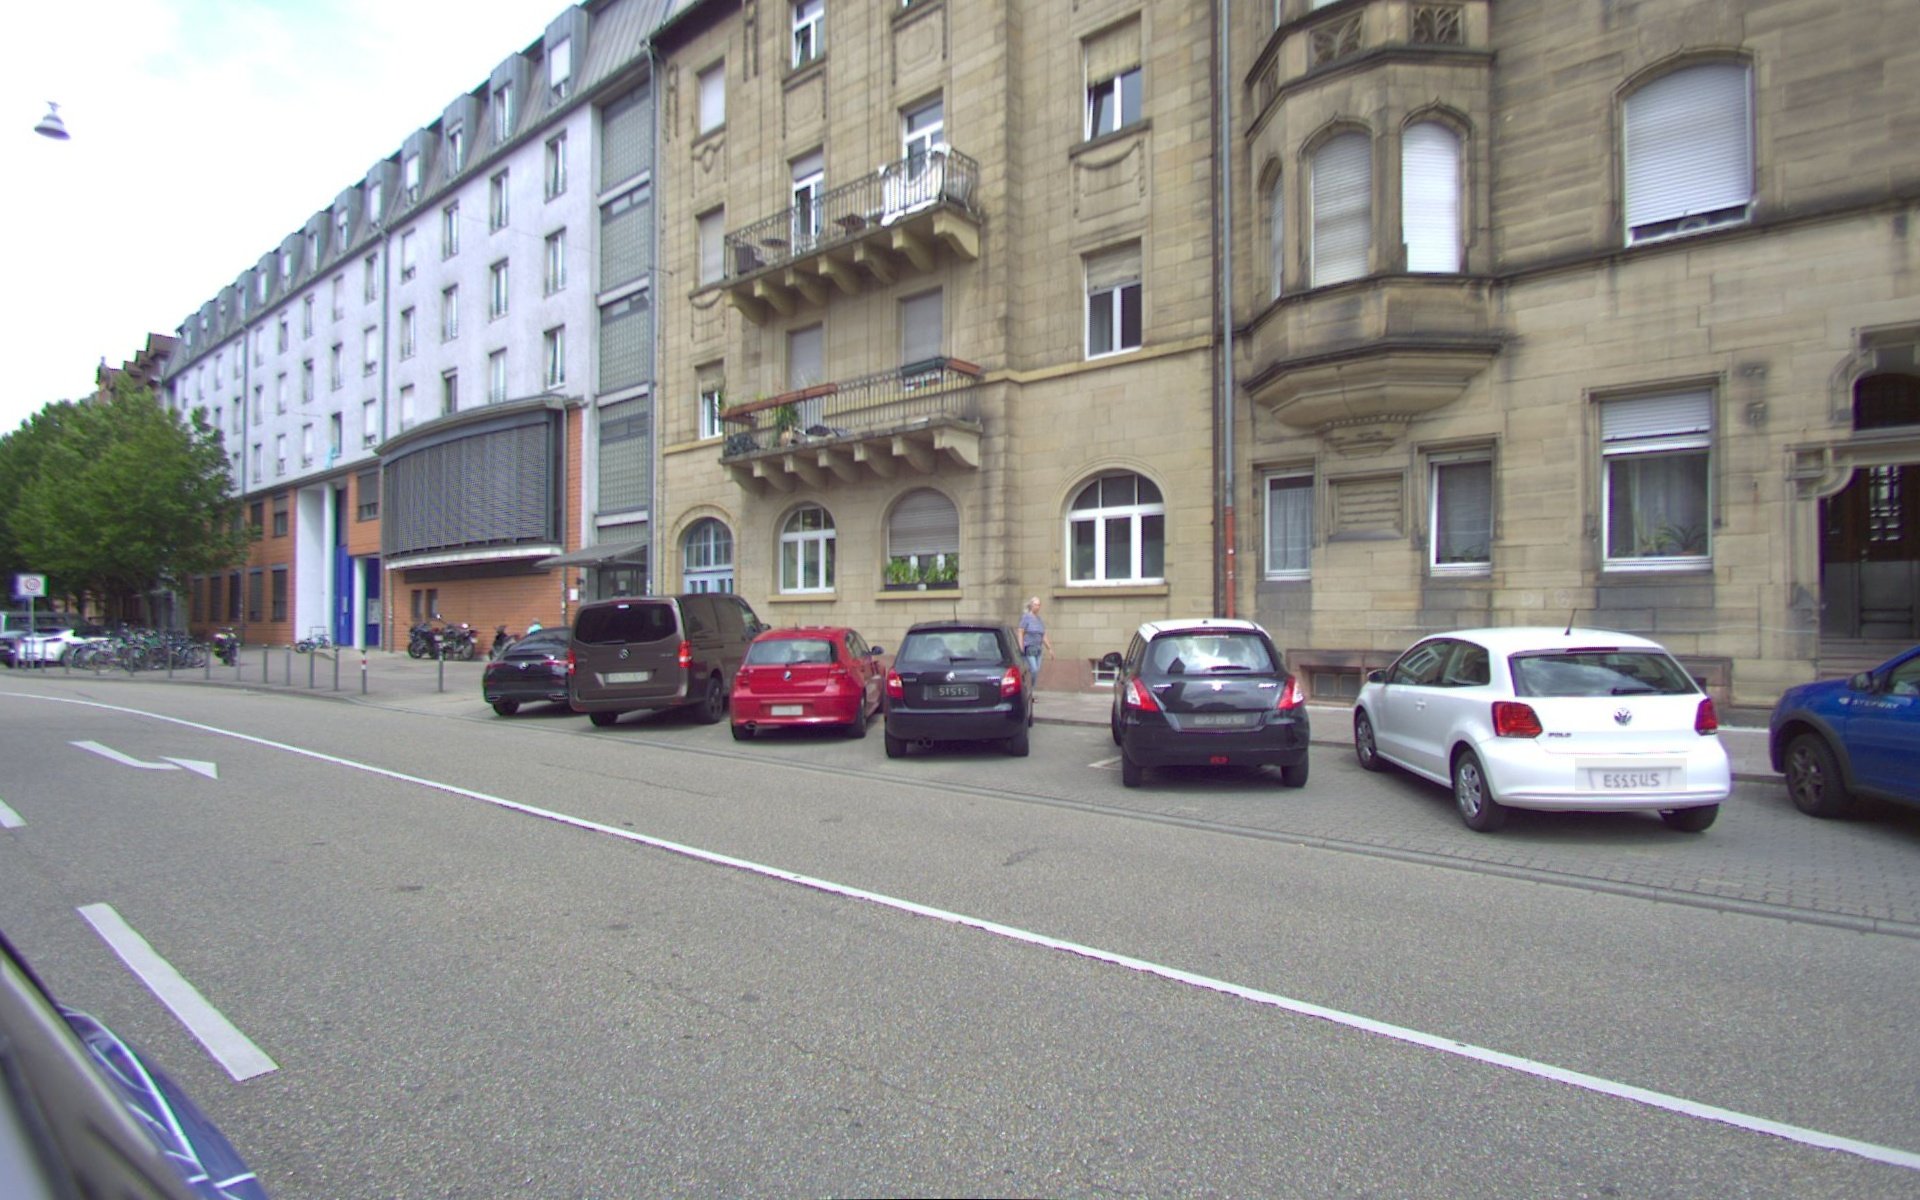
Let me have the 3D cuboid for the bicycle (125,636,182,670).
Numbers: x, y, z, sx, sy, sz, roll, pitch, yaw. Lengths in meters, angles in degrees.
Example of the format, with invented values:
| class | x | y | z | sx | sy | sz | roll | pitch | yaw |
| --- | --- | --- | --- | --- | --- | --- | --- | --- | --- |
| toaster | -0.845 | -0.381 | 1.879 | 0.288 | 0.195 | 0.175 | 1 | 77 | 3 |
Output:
| class | x | y | z | sx | sy | sz | roll | pitch | yaw |
| --- | --- | --- | --- | --- | --- | --- | --- | --- | --- |
| bicycle | -25.917 | 1.695 | 32.528 | 0.402 | 1.034 | 1.390 | -2 | -2 | 43 |

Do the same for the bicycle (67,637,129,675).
| class | x | y | z | sx | sy | sz | roll | pitch | yaw |
| --- | --- | --- | --- | --- | --- | --- | --- | --- | --- |
| bicycle | -26.510 | 1.712 | 31.130 | 0.402 | 1.046 | 1.391 | -2 | 0 | 43 |

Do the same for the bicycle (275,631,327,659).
| class | x | y | z | sx | sy | sz | roll | pitch | yaw |
| --- | --- | --- | --- | --- | --- | --- | --- | --- | --- |
| bicycle | -26.042 | 1.774 | 40.010 | 1.590 | 0.933 | 0.933 | -6 | 2 | -37 |

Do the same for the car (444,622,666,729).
| class | x | y | z | sx | sy | sz | roll | pitch | yaw |
| --- | --- | --- | --- | --- | --- | --- | --- | --- | --- |
| car | -6.907 | 1.209 | 17.889 | 1.874 | 1.420 | 4.669 | -2 | 1 | 2 |

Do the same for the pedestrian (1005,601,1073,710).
| class | x | y | z | sx | sy | sz | roll | pitch | yaw |
| --- | --- | --- | --- | --- | --- | --- | --- | --- | --- |
| pedestrian | 1.234 | 0.839 | 15.706 | 0.678 | 1.607 | 0.783 | -2 | 0 | 41 |

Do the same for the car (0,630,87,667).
| class | x | y | z | sx | sy | sz | roll | pitch | yaw |
| --- | --- | --- | --- | --- | --- | --- | --- | --- | --- |
| car | -39.135 | 2.024 | 42.266 | 1.606 | 1.457 | 3.996 | -1 | -2 | 7 |

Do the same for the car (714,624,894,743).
| class | x | y | z | sx | sy | sz | roll | pitch | yaw |
| --- | --- | --- | --- | --- | --- | --- | --- | --- | --- |
| car | -1.998 | 1.054 | 14.112 | 1.772 | 1.420 | 4.009 | 0 | -2 | 2 |

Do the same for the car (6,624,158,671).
| class | x | y | z | sx | sy | sz | roll | pitch | yaw |
| --- | --- | --- | --- | --- | --- | --- | --- | --- | --- |
| car | -30.470 | 1.623 | 35.291 | 1.583 | 1.557 | 3.997 | -1 | -2 | 7 |

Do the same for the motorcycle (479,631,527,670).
| class | x | y | z | sx | sy | sz | roll | pitch | yaw |
| --- | --- | --- | --- | --- | --- | --- | --- | --- | --- |
| motorcycle | -13.099 | 1.439 | 28.978 | 1.793 | 1.057 | 0.577 | -2 | -1 | 42 |

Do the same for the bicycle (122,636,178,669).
| class | x | y | z | sx | sy | sz | roll | pitch | yaw |
| --- | --- | --- | --- | --- | --- | --- | --- | --- | --- |
| bicycle | -26.282 | 1.687 | 32.848 | 0.402 | 1.034 | 1.390 | -2 | -2 | 43 |

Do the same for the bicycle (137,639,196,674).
| class | x | y | z | sx | sy | sz | roll | pitch | yaw |
| --- | --- | --- | --- | --- | --- | --- | --- | --- | --- |
| bicycle | -24.537 | 1.744 | 31.311 | 0.402 | 1.034 | 1.390 | -2 | -2 | 43 |

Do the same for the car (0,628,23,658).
| class | x | y | z | sx | sy | sz | roll | pitch | yaw |
| --- | --- | --- | --- | --- | --- | --- | --- | --- | --- |
| car | -53.153 | 2.342 | 54.395 | 1.671 | 1.580 | 3.996 | -1 | -2 | 7 |

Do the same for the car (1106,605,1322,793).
| class | x | y | z | sx | sy | sz | roll | pitch | yaw |
| --- | --- | --- | --- | --- | --- | --- | --- | --- | --- |
| car | 2.462 | 0.892 | 10.632 | 1.776 | 1.576 | 4.001 | -1 | -2 | 9 |

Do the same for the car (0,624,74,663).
| class | x | y | z | sx | sy | sz | roll | pitch | yaw |
| --- | --- | --- | --- | --- | --- | --- | --- | --- | --- |
| car | -41.199 | 1.874 | 43.935 | 1.692 | 1.627 | 3.996 | -1 | -2 | 7 |

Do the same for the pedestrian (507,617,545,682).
| class | x | y | z | sx | sy | sz | roll | pitch | yaw |
| --- | --- | --- | --- | --- | --- | --- | --- | --- | --- |
| pedestrian | -10.115 | 1.141 | 23.615 | 0.508 | 1.497 | 0.653 | -2 | -2 | 39 |

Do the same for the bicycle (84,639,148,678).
| class | x | y | z | sx | sy | sz | roll | pitch | yaw |
| --- | --- | --- | --- | --- | --- | --- | --- | --- | --- |
| bicycle | -24.931 | 1.705 | 29.896 | 0.402 | 1.046 | 1.391 | -2 | 0 | 43 |

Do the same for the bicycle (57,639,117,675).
| class | x | y | z | sx | sy | sz | roll | pitch | yaw |
| --- | --- | --- | --- | --- | --- | --- | --- | --- | --- |
| bicycle | -27.939 | 1.814 | 32.400 | 0.402 | 1.034 | 1.391 | -2 | 0 | 43 |

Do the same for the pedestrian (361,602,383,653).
| class | x | y | z | sx | sy | sz | roll | pitch | yaw |
| --- | --- | --- | --- | --- | --- | --- | --- | --- | --- |
| pedestrian | -23.668 | 1.118 | 40.767 | 0.718 | 2.029 | 0.785 | 1 | -2 | -29 |

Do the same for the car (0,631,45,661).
| class | x | y | z | sx | sy | sz | roll | pitch | yaw |
| --- | --- | --- | --- | --- | --- | --- | --- | --- | --- |
| car | -47.103 | 2.248 | 49.041 | 1.671 | 1.465 | 3.996 | -1 | -2 | 7 |

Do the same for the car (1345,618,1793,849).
| class | x | y | z | sx | sy | sz | roll | pitch | yaw |
| --- | --- | --- | --- | --- | --- | --- | --- | --- | --- |
| car | 4.664 | 0.919 | 8.468 | 1.720 | 1.493 | 3.680 | -1 | -2 | 5 |

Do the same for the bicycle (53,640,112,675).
| class | x | y | z | sx | sy | sz | roll | pitch | yaw |
| --- | --- | --- | --- | --- | --- | --- | --- | --- | --- |
| bicycle | -28.542 | 1.860 | 32.937 | 0.402 | 1.034 | 1.391 | -2 | 0 | 43 |

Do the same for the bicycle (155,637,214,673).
| class | x | y | z | sx | sy | sz | roll | pitch | yaw |
| --- | --- | --- | --- | --- | --- | --- | --- | --- | --- |
| bicycle | -23.472 | 1.652 | 30.646 | 0.402 | 1.034 | 1.390 | -2 | -2 | 43 |

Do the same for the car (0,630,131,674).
| class | x | y | z | sx | sy | sz | roll | pitch | yaw |
| --- | --- | --- | --- | --- | --- | --- | --- | --- | --- |
| car | -32.678 | 1.831 | 36.502 | 1.697 | 1.480 | 4.307 | -1 | -2 | 7 |

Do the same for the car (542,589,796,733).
| class | x | y | z | sx | sy | sz | roll | pitch | yaw |
| --- | --- | --- | --- | --- | --- | --- | --- | --- | --- |
| car | -4.384 | 0.894 | 16.337 | 2.096 | 1.924 | 5.260 | -1 | -2 | 7 |

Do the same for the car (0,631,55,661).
| class | x | y | z | sx | sy | sz | roll | pitch | yaw |
| --- | --- | --- | --- | --- | --- | --- | --- | --- | --- |
| car | -45.366 | 2.178 | 47.709 | 1.577 | 1.400 | 3.996 | -1 | -2 | 7 |

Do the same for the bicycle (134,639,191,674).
| class | x | y | z | sx | sy | sz | roll | pitch | yaw |
| --- | --- | --- | --- | --- | --- | --- | --- | --- | --- |
| bicycle | -25.246 | 1.781 | 32.051 | 0.402 | 1.034 | 1.390 | -2 | -2 | 43 |

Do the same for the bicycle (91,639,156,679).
| class | x | y | z | sx | sy | sz | roll | pitch | yaw |
| --- | --- | --- | --- | --- | --- | --- | --- | --- | --- |
| bicycle | -24.235 | 1.707 | 29.337 | 0.402 | 1.046 | 1.391 | -2 | 0 | 43 |

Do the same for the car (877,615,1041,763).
| class | x | y | z | sx | sy | sz | roll | pitch | yaw |
| --- | --- | --- | --- | --- | --- | --- | --- | --- | --- |
| car | 0.136 | 0.975 | 12.449 | 1.611 | 1.514 | 3.989 | -1 | -2 | 6 |

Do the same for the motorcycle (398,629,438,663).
| class | x | y | z | sx | sy | sz | roll | pitch | yaw |
| --- | --- | --- | --- | --- | --- | --- | --- | --- | --- |
| motorcycle | -17.688 | 1.504 | 33.025 | 1.655 | 1.057 | 0.577 | -2 | -1 | 40 |

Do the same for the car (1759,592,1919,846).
| class | x | y | z | sx | sy | sz | roll | pitch | yaw |
| --- | --- | --- | --- | --- | --- | --- | --- | --- | --- |
| car | 7.088 | 0.759 | 6.099 | 1.703 | 1.664 | 3.772 | -1 | -2 | 5 |

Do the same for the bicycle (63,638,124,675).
| class | x | y | z | sx | sy | sz | roll | pitch | yaw |
| --- | --- | --- | --- | --- | --- | --- | --- | --- | --- |
| bicycle | -26.994 | 1.749 | 31.551 | 0.402 | 1.034 | 1.391 | -2 | 0 | 43 |

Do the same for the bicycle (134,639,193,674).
| class | x | y | z | sx | sy | sz | roll | pitch | yaw |
| --- | --- | --- | --- | --- | --- | --- | --- | --- | --- |
| bicycle | -24.924 | 1.755 | 31.682 | 0.402 | 1.034 | 1.390 | -2 | -2 | 43 |

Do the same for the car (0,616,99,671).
| class | x | y | z | sx | sy | sz | roll | pitch | yaw |
| --- | --- | --- | --- | --- | --- | --- | --- | --- | --- |
| car | -36.934 | 1.698 | 40.158 | 1.841 | 2.013 | 3.993 | -1 | 0 | 10 |

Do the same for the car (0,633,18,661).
| class | x | y | z | sx | sy | sz | roll | pitch | yaw |
| --- | --- | --- | --- | --- | --- | --- | --- | --- | --- |
| car | -55.179 | 2.635 | 56.220 | 1.671 | 1.580 | 3.996 | -1 | -2 | 7 |

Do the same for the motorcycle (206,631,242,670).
| class | x | y | z | sx | sy | sz | roll | pitch | yaw |
| --- | --- | --- | --- | --- | --- | --- | --- | --- | --- |
| motorcycle | -23.146 | 1.570 | 31.833 | 1.779 | 1.181 | 0.577 | -2 | -1 | 43 |

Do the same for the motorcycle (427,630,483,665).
| class | x | y | z | sx | sy | sz | roll | pitch | yaw |
| --- | --- | --- | --- | --- | --- | --- | --- | --- | --- |
| motorcycle | -15.754 | 1.485 | 31.567 | 1.959 | 1.057 | 0.579 | -2 | -1 | 30 |

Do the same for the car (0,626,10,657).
| class | x | y | z | sx | sy | sz | roll | pitch | yaw |
| --- | --- | --- | --- | --- | --- | --- | --- | --- | --- |
| car | -59.763 | 2.507 | 60.599 | 1.671 | 1.872 | 4.035 | -1 | -2 | 7 |
